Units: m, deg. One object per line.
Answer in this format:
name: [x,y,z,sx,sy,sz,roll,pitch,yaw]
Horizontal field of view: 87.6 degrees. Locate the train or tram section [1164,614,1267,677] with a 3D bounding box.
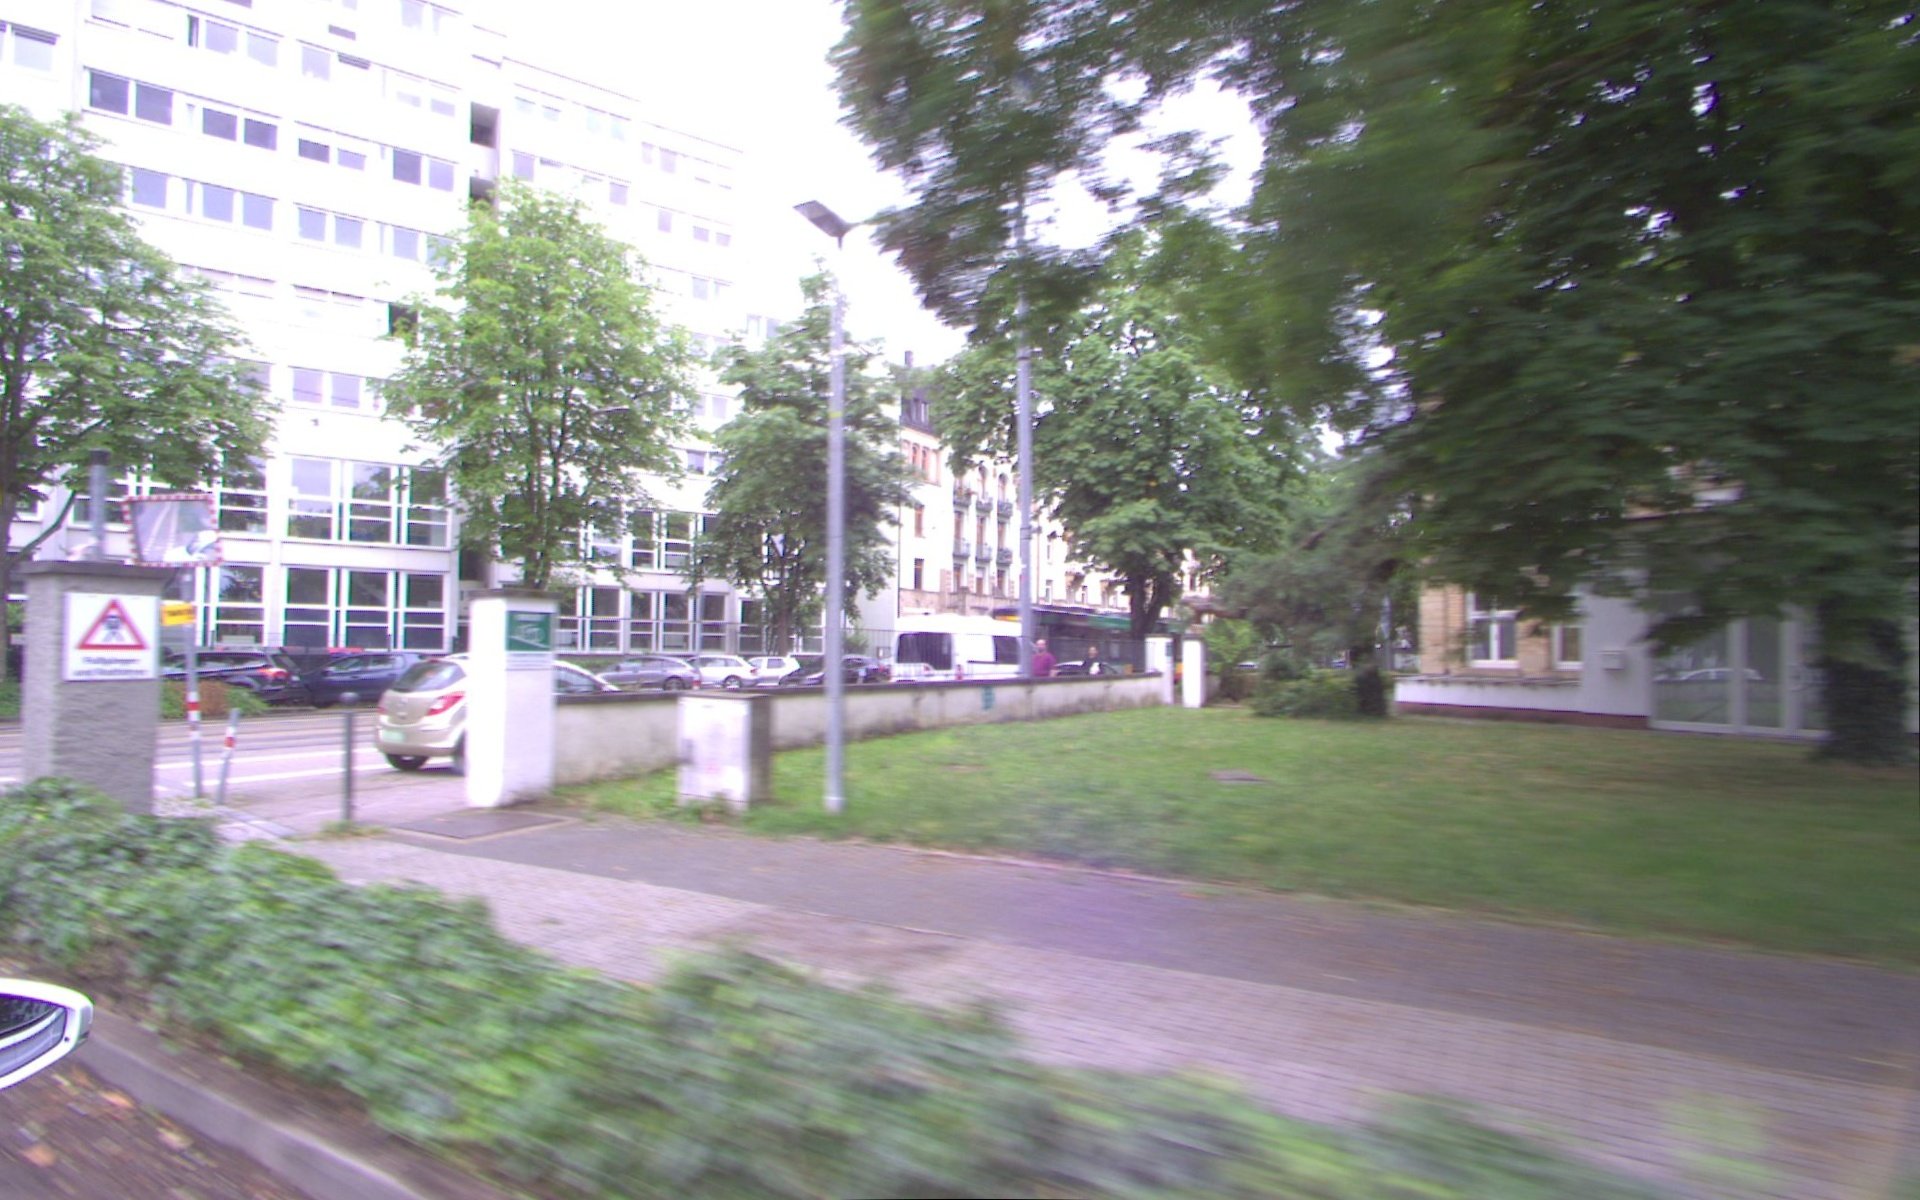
train or tram section: [16.733,2.938,64.435,2.628,3.659,14.711,-1,-3,30]

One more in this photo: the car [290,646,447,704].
car: [-15.827,1.999,26.937,3.328,1.492,1.416,1,-2,-14]

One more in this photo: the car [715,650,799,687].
car: [-8.343,2.796,41.162,3.328,1.492,1.416,1,-2,-14]

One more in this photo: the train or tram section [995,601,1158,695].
train or tram section: [5.663,2.155,45.189,2.628,3.659,12.407,-1,-3,30]

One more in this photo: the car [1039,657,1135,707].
car: [3.980,2.467,30.907,1.784,1.371,3.799,-1,-2,27]

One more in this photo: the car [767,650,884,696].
car: [-4.667,2.530,35.240,1.797,1.508,4.235,-1,-3,32]

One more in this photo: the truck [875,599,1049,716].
truck: [0.191,1.401,24.738,2.137,2.577,4.909,-1,-3,30]

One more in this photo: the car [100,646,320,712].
car: [-18.020,1.869,24.253,3.885,1.492,1.671,1,-2,-17]

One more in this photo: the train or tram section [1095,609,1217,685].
train or tram section: [10.930,2.565,54.346,2.628,3.659,12.407,-1,-3,30]

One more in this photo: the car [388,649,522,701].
car: [-15.004,2.212,29.907,3.328,1.492,1.416,1,-2,-14]

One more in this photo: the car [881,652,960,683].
car: [-1.993,3.354,50.022,3.723,1.460,1.693,1,-2,-9]

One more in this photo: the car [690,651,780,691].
car: [-8.702,2.744,38.727,3.328,1.492,1.416,1,-2,-14]

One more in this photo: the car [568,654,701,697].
car: [-11.573,2.695,35.774,4.420,1.491,1.416,1,-5,-18]

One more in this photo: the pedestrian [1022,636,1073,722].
pedestrian: [1.840,1.643,21.067,0.795,1.740,0.953,0,-2,24]

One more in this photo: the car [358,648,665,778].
car: [-6.023,1.450,13.836,1.641,1.519,3.579,-1,-3,31]
